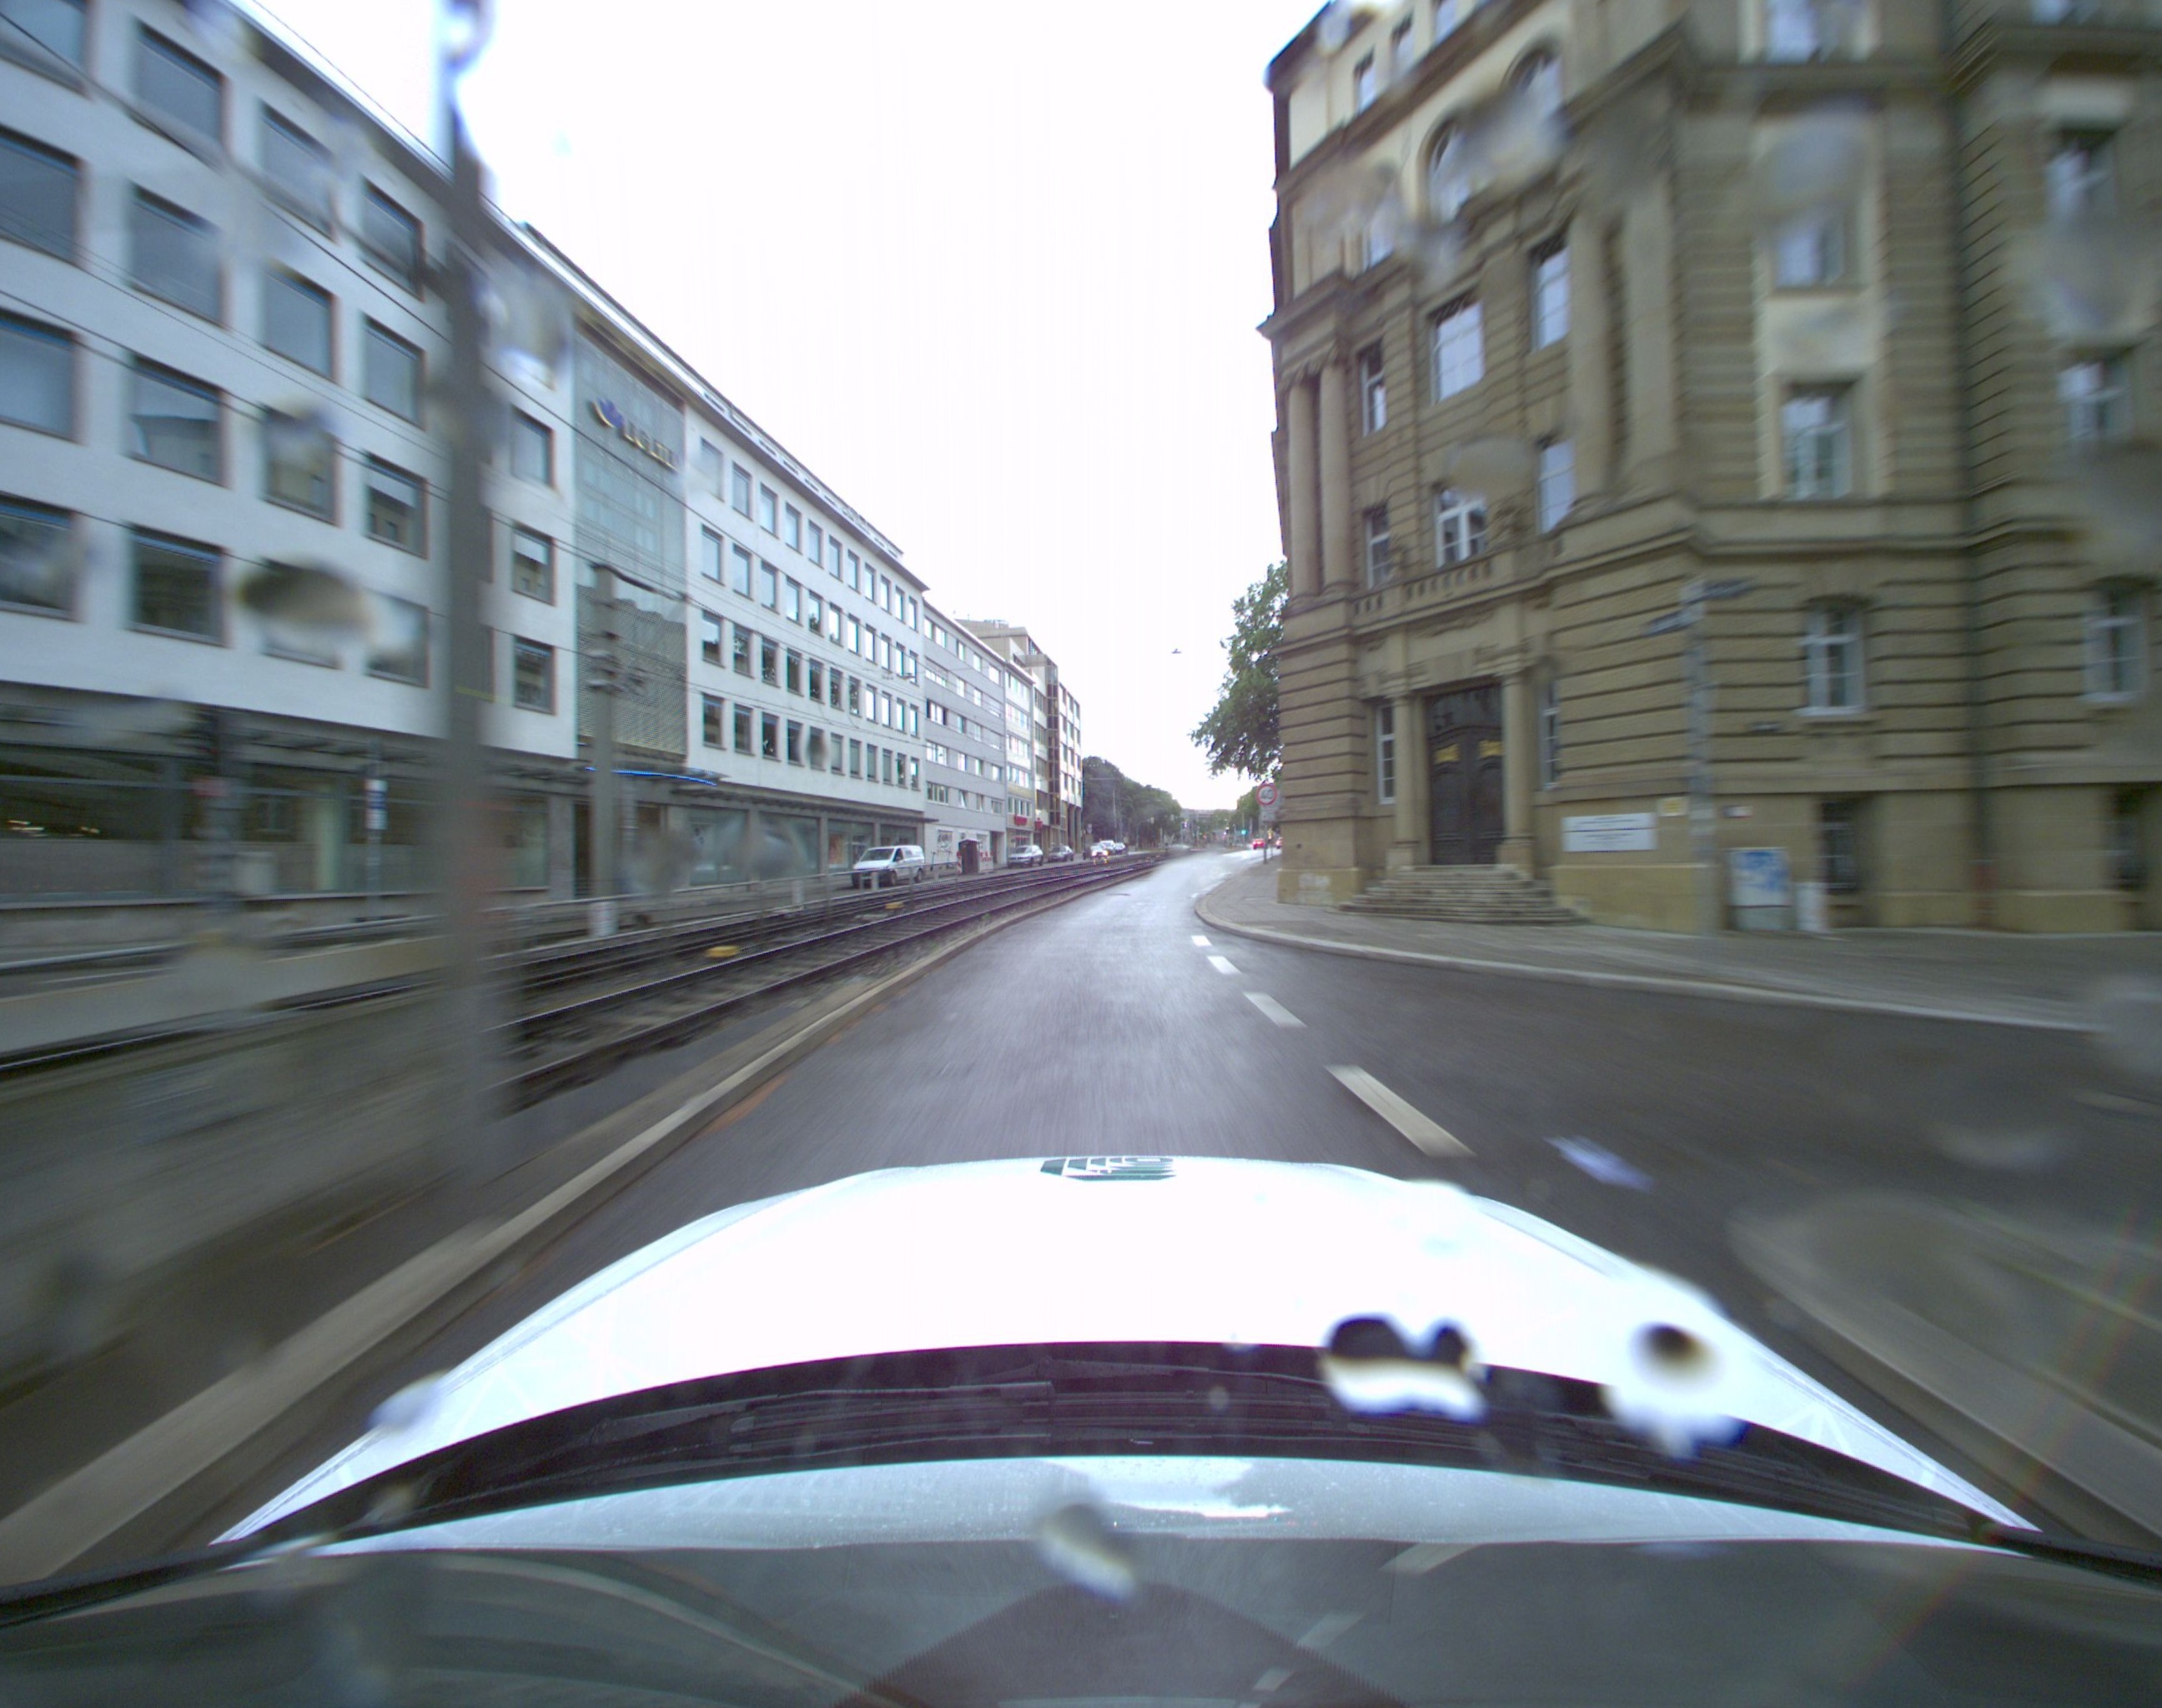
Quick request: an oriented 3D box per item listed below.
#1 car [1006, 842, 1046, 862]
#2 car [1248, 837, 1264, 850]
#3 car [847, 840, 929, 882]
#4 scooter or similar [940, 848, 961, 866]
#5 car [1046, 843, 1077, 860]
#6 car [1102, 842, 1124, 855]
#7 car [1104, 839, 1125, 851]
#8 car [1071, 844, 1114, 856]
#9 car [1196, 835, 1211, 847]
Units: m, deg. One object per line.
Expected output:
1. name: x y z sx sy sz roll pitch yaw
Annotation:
1. car: -4.059 -0.152 60.912 1.981 1.456 4.324 0 1 10
2. car: 23.936 -1.427 111.358 1.981 1.662 4.012 0 1 11
3. car: -9.098 0.288 38.916 1.981 1.882 4.942 0 1 10
4. scooter or similar: -8.924 0.189 55.629 0.760 1.219 2.071 0 1 10
5. car: -1.702 -0.217 73.010 1.981 1.456 4.324 0 1 10
6. car: 3.768 -0.617 94.766 1.981 1.456 4.324 0 1 10
7. car: 4.196 -1.085 101.379 1.981 1.456 4.324 0 1 10
8. car: 1.062 -0.385 77.977 2.009 1.163 4.264 -1 1 -36
9. car: 17.185 -1.808 114.060 1.981 1.662 4.012 0 1 11
